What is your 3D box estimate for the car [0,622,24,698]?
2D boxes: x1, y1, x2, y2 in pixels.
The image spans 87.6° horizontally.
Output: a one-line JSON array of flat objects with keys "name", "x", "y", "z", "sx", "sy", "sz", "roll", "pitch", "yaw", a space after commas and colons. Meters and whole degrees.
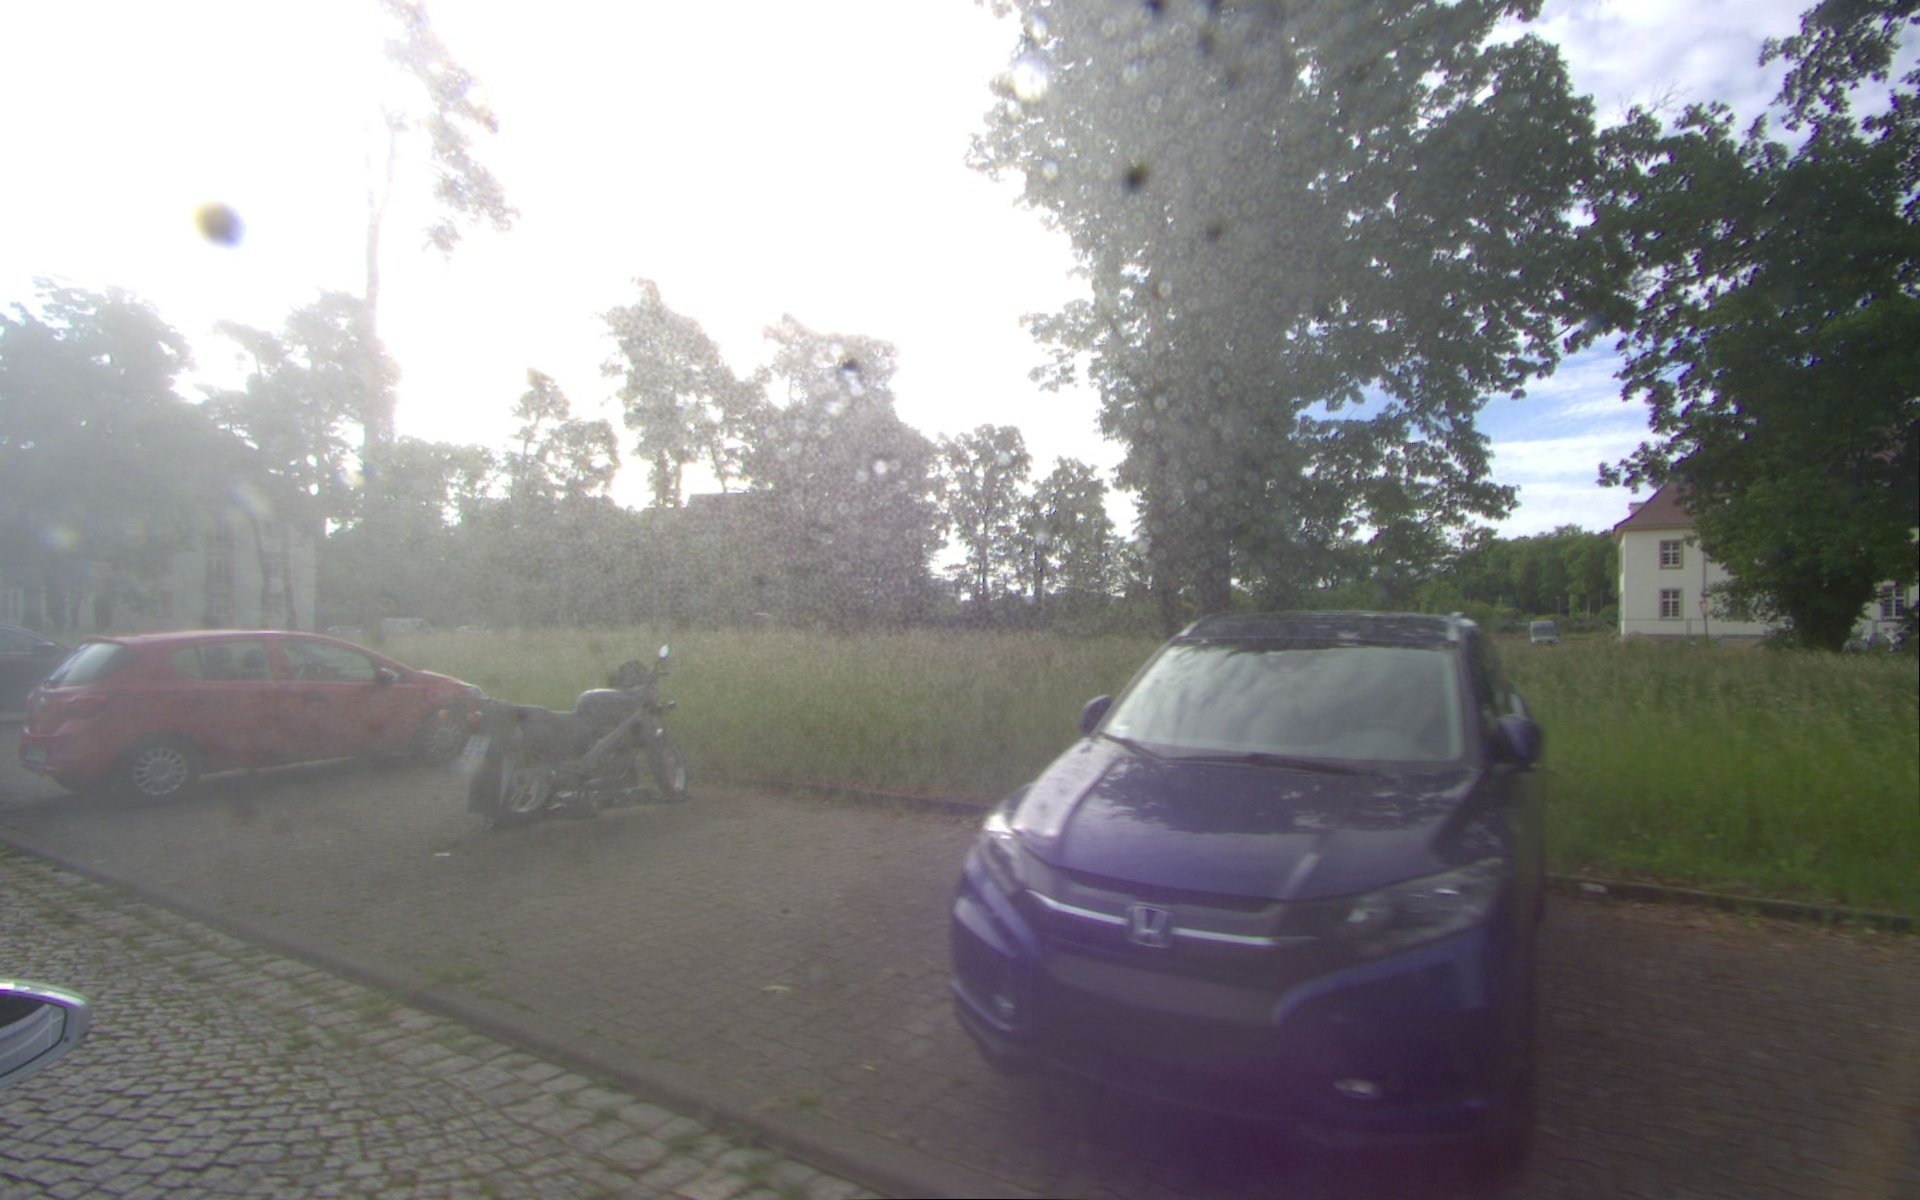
[{"name": "car", "x": -20.704, "y": 1.188, "z": 18.925, "sx": 1.696, "sy": 1.498, "sz": 4.092, "roll": 0, "pitch": 0, "yaw": 30}]

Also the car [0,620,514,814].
[{"name": "car", "x": -6.821, "y": 0.982, "z": 10.147, "sx": 1.759, "sy": 1.516, "sz": 3.917, "roll": 0, "pitch": -1, "yaw": 31}]

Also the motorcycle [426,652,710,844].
[{"name": "motorcycle", "x": -2.985, "y": 1.065, "z": 7.923, "sx": 0.560, "sy": 1.218, "sz": 2.226, "roll": 0, "pitch": 0, "yaw": 30}]

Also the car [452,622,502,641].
[{"name": "car", "x": -48.646, "y": 3.201, "z": 100.916, "sx": 1.874, "sy": 1.826, "sz": 4.124, "roll": -1, "pitch": -3, "yaw": 35}]

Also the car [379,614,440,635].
[{"name": "car", "x": -58.118, "y": 2.590, "z": 105.740, "sx": 2.076, "sy": 2.044, "sz": 5.291, "roll": -1, "pitch": -3, "yaw": 33}]

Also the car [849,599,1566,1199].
[{"name": "car", "x": 1.541, "y": 0.847, "z": 4.367, "sx": 1.859, "sy": 1.644, "sz": 4.238, "roll": 0, "pitch": -1, "yaw": 31}]

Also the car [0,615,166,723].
[{"name": "car", "x": -15.351, "y": 1.058, "z": 15.665, "sx": 1.924, "sy": 1.616, "sz": 4.197, "roll": 0, "pitch": 0, "yaw": 30}]

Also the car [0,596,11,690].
[{"name": "car", "x": -22.790, "y": 0.918, "z": 20.319, "sx": 1.937, "sy": 2.030, "sz": 4.788, "roll": 0, "pitch": 0, "yaw": 31}]

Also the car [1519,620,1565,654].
[{"name": "car", "x": 47.426, "y": 3.030, "z": 81.719, "sx": 2.238, "sy": 2.674, "sz": 5.673, "roll": 0, "pitch": -3, "yaw": 20}]
